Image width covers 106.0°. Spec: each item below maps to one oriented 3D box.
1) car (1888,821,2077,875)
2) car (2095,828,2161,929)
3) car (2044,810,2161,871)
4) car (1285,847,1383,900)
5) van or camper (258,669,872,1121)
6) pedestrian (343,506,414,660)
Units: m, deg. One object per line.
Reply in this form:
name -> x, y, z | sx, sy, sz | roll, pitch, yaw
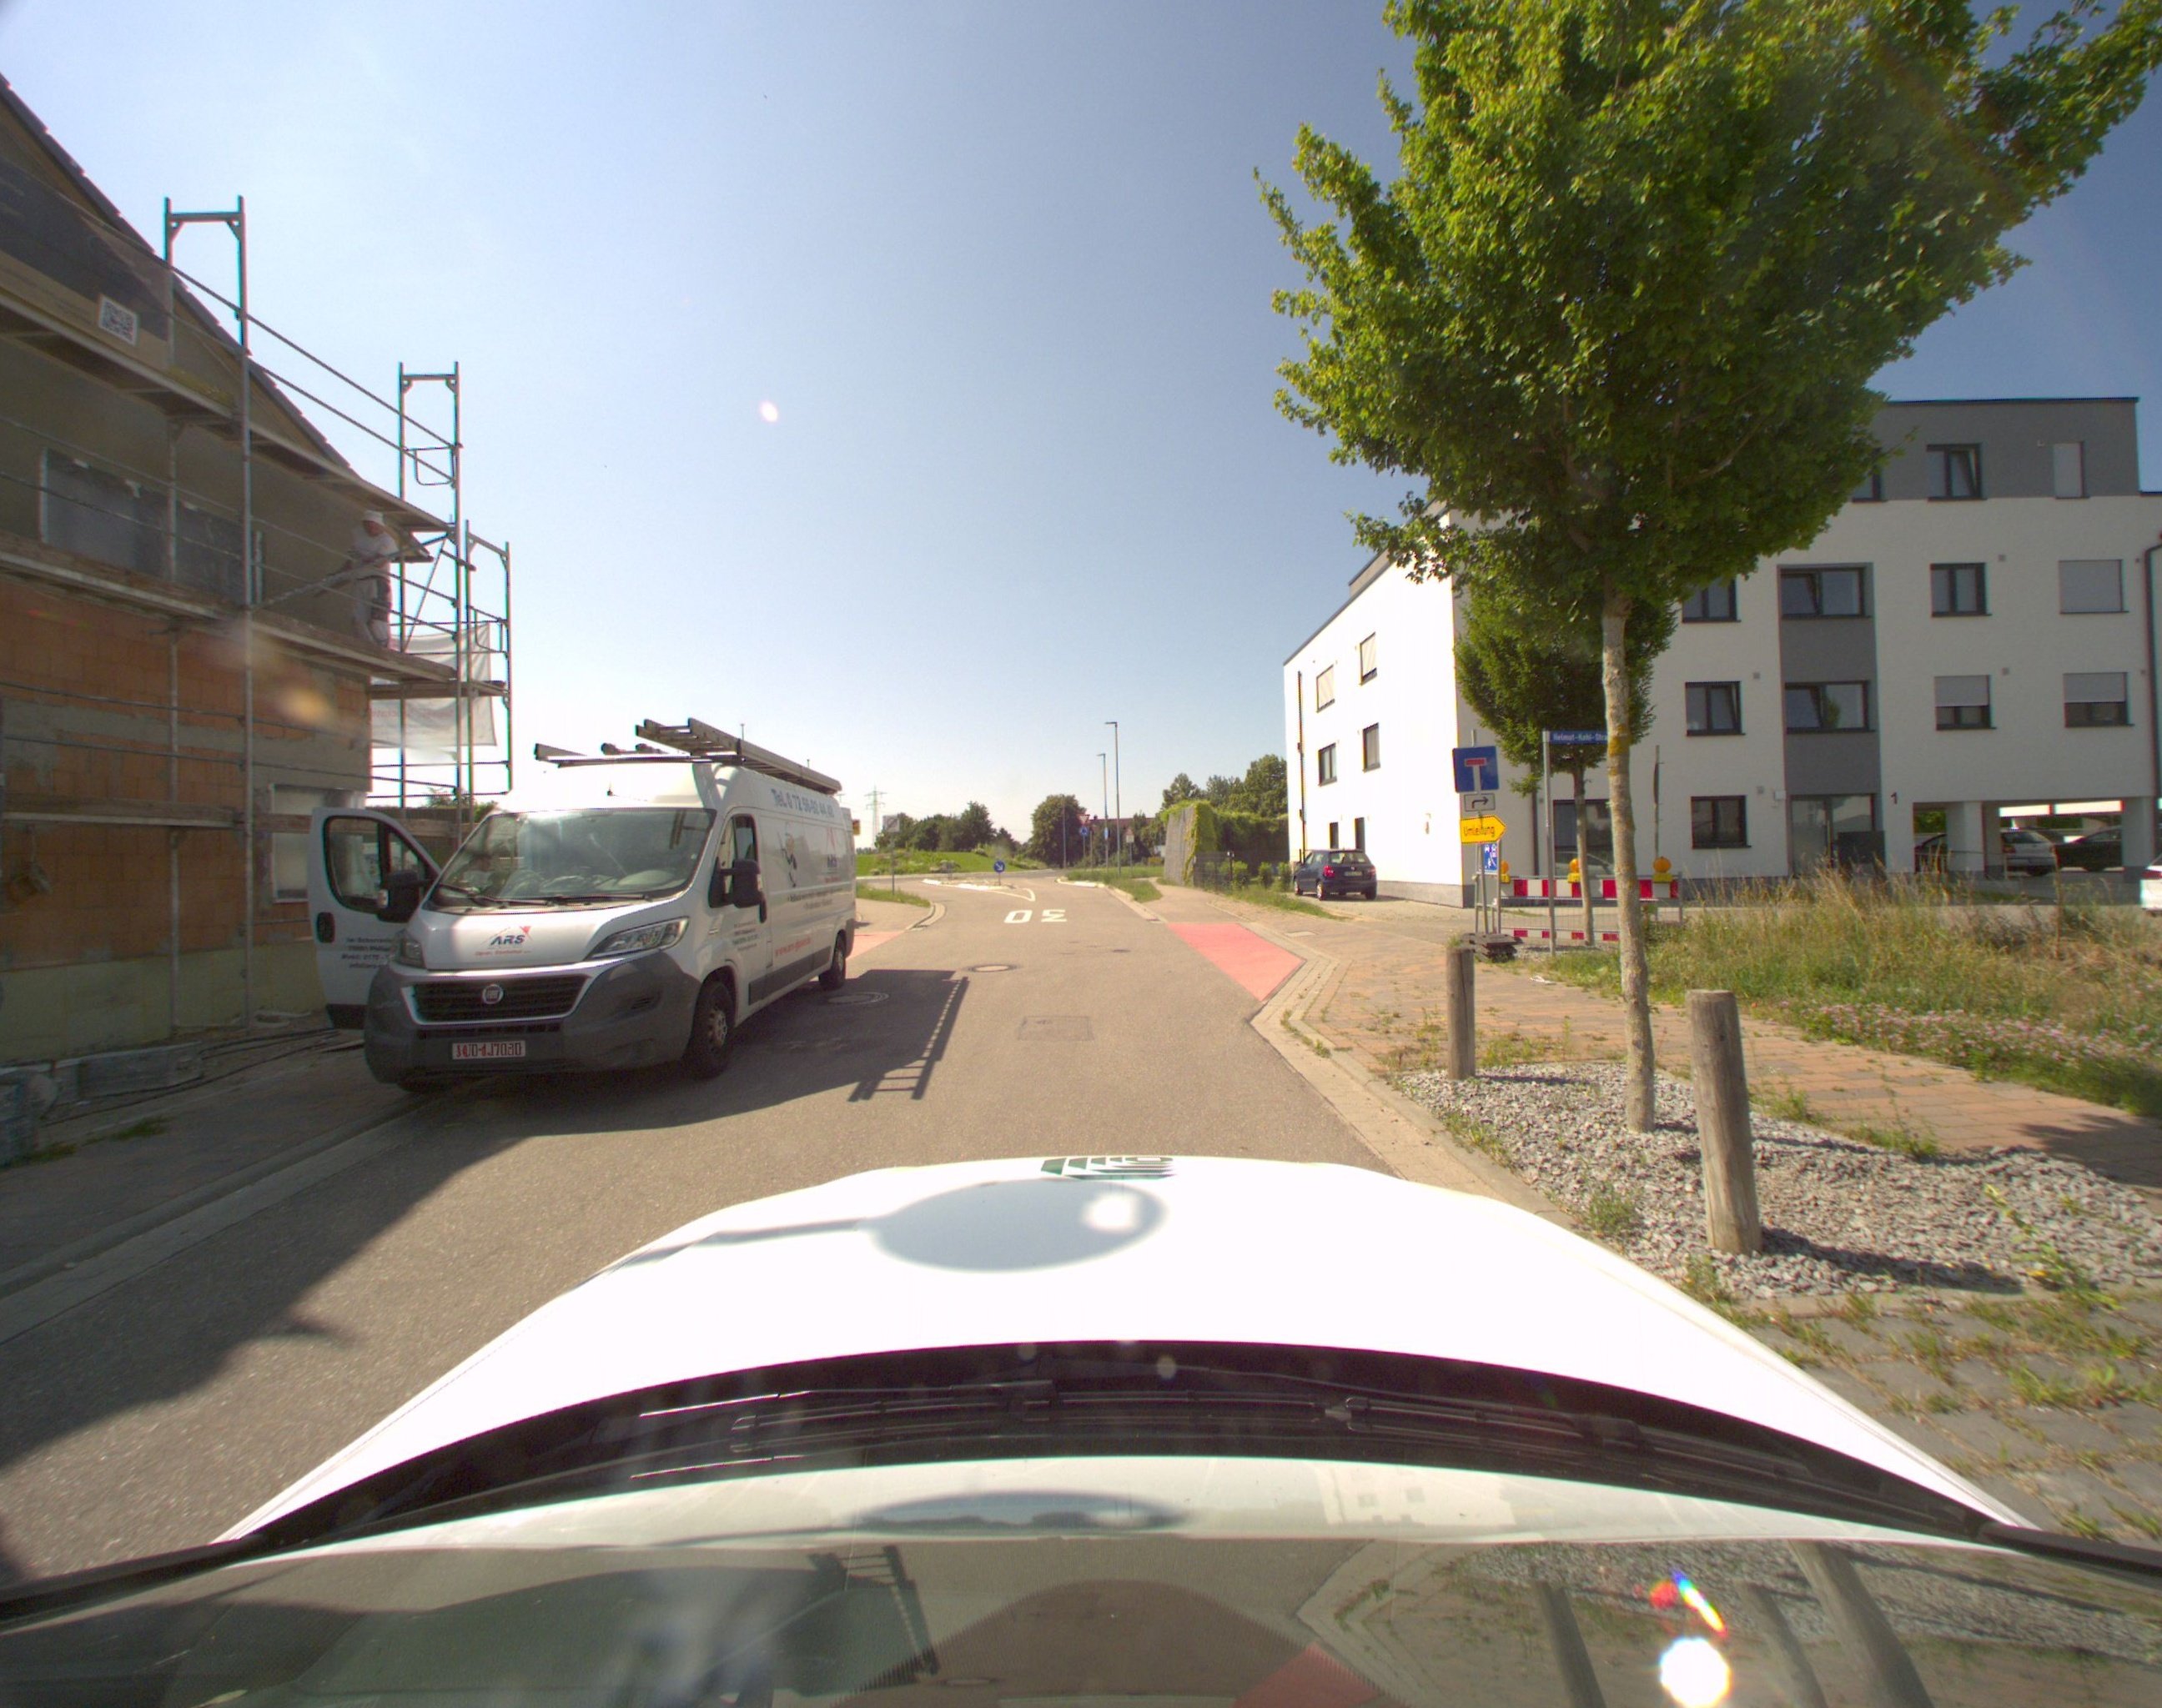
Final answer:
car -> 28.210, -0.145, 25.680 | 1.870, 1.503, 3.679 | -2, -1, 1
car -> 17.376, 0.282, 11.348 | 4.145, 1.435, 1.882 | -2, -1, -1
car -> 33.006, -0.399, 25.010 | 1.870, 1.810, 4.172 | -2, -1, 1
car -> 7.634, 0.525, 24.980 | 1.673, 1.469, 4.114 | -1, 0, -1
van or camper -> -3.794, 0.251, 7.919 | 2.269, 2.553, 6.356 | -2, -1, -5
pedestrian -> -8.318, -3.176, 9.667 | 0.566, 1.500, 0.740 | 0, -3, -36
